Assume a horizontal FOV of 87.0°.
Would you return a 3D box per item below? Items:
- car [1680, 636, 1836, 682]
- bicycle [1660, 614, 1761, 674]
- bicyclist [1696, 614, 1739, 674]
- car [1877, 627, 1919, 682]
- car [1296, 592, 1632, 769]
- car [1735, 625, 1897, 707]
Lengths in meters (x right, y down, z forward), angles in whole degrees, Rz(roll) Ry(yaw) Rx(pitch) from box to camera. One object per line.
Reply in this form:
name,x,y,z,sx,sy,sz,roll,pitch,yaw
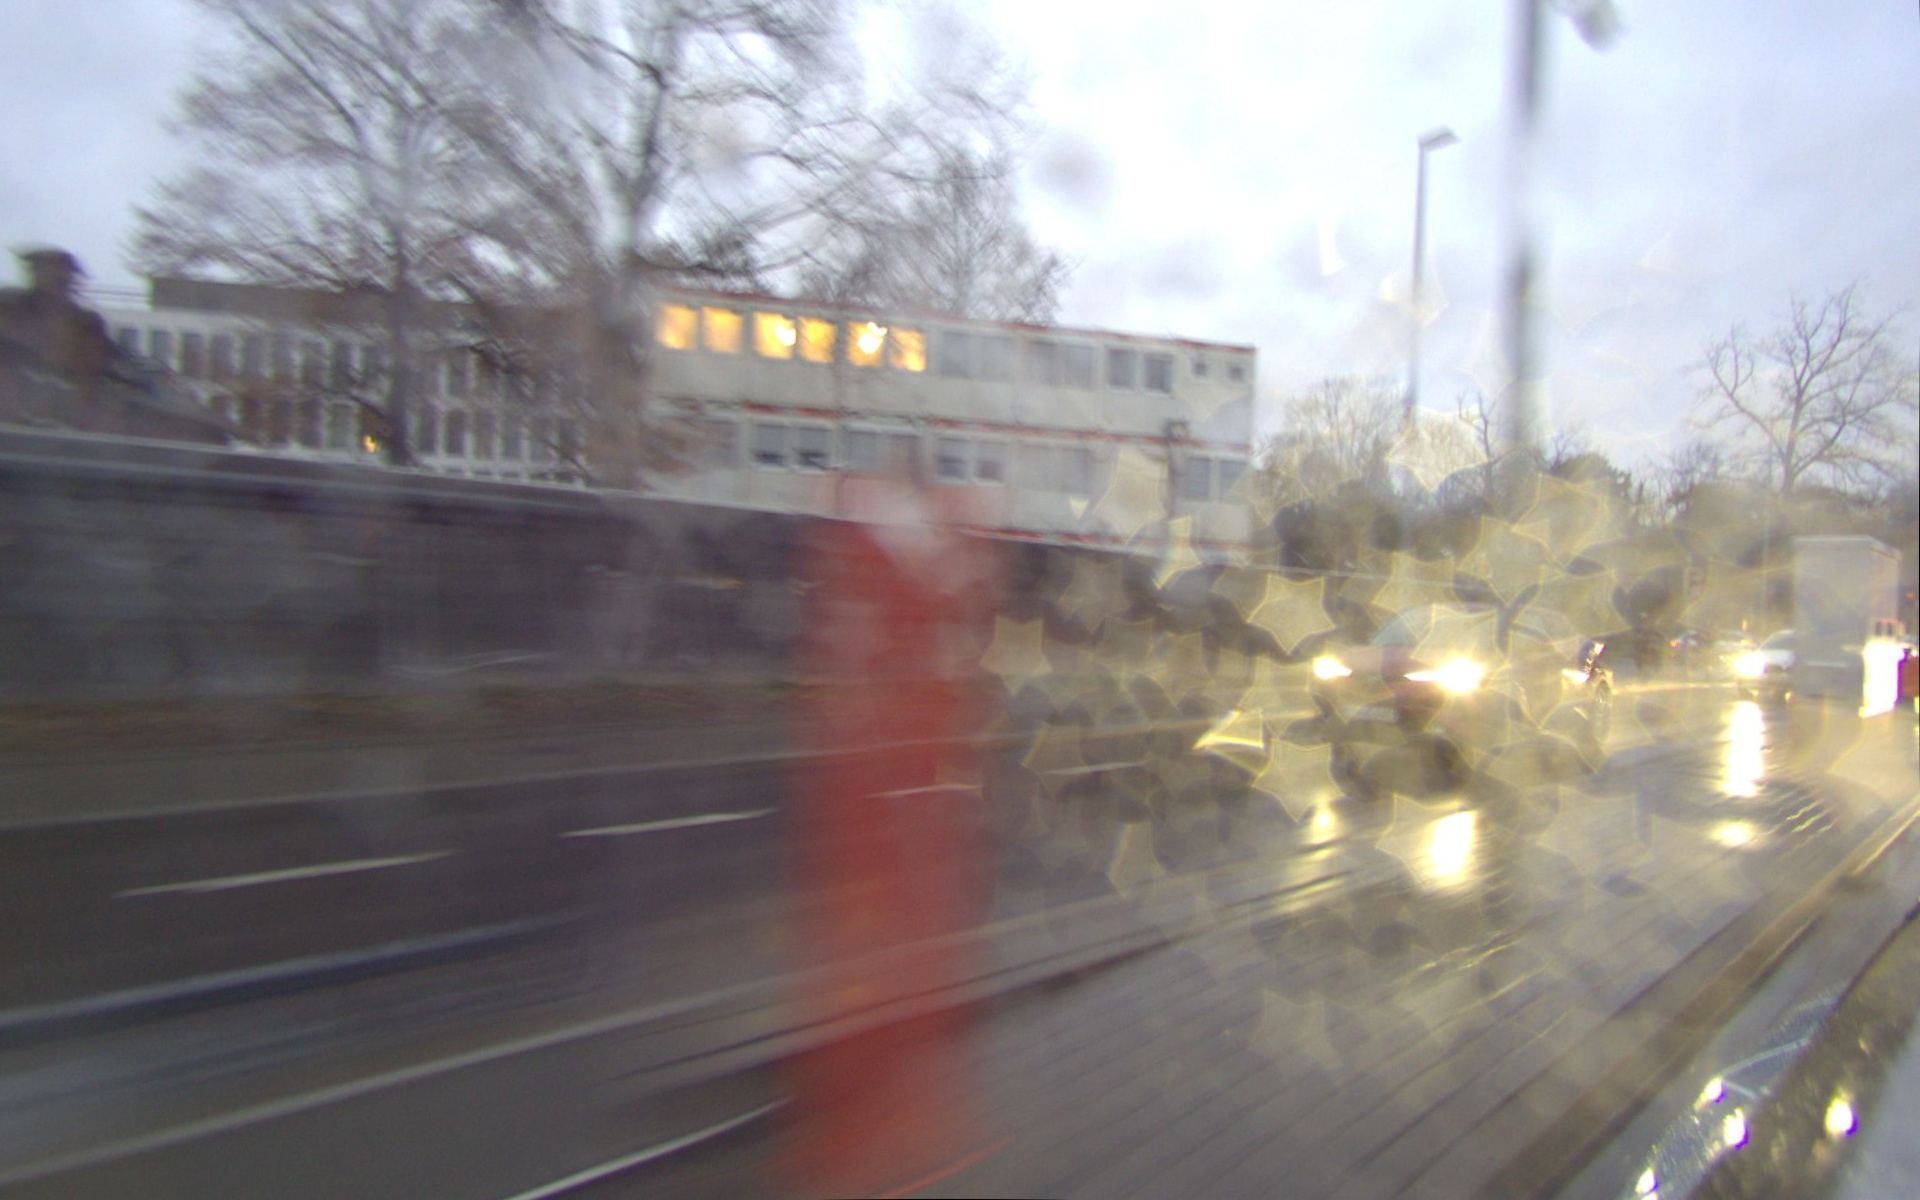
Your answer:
car,31.644,2.297,40.281,1.845,1.508,4.521,2,0,-32
bicycle,21.748,1.247,29.366,0.677,1.678,2.247,1,-1,-35
bicyclist,21.879,1.261,29.243,0.684,1.700,0.817,2,-1,-38
car,27.930,1.544,28.931,3.964,1.480,1.779,1,0,-36
car,5.324,0.712,10.499,3.929,1.498,1.725,1,-1,-40
car,18.843,1.355,22.202,4.876,1.520,1.791,1,0,-39
